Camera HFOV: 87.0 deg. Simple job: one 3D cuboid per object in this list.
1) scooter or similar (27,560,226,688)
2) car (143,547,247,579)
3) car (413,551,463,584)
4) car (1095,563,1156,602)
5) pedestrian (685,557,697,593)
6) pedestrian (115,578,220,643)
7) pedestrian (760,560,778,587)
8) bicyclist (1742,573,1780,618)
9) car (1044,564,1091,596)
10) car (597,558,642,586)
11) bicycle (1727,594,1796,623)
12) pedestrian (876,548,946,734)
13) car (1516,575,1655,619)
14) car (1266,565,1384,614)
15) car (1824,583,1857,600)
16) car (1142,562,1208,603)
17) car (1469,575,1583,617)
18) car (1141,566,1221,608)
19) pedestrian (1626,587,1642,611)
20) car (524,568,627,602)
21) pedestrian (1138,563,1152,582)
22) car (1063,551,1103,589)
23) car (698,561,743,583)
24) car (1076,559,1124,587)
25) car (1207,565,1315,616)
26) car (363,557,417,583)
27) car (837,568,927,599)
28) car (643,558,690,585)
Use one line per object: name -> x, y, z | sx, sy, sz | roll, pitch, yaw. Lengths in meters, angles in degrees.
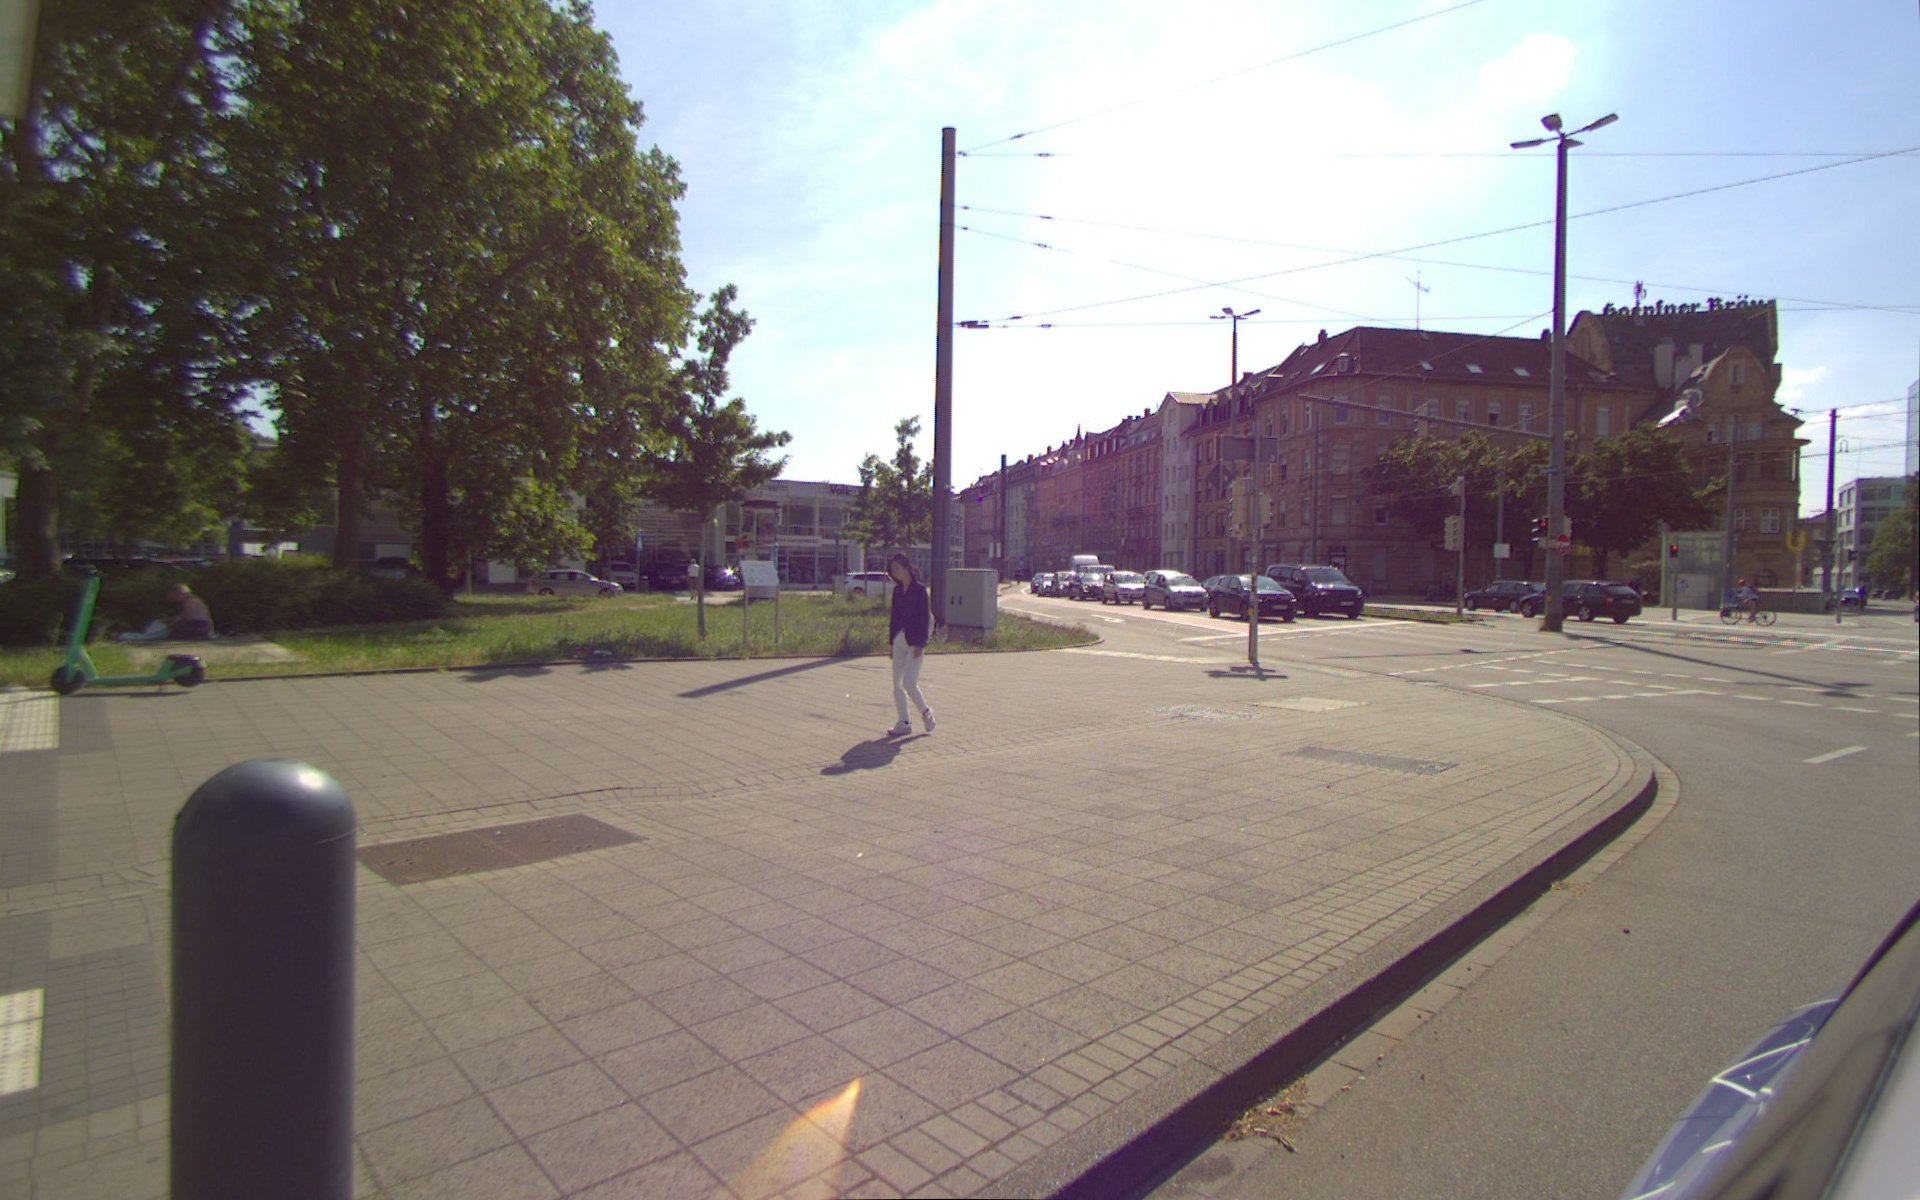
scooter or similar -> -7.729, 0.212, 9.433 | 1.335, 1.133, 0.518 | 1, 1, -15
car -> -39.613, -1.905, 52.533 | 3.917, 1.388, 2.004 | 2, 0, -26
car -> -29.221, -1.782, 56.792 | 1.958, 1.705, 4.009 | 2, 0, -20
car -> 7.892, -0.826, 48.620 | 1.623, 1.760, 4.207 | 1, 1, -8
pedestrian -> -12.211, -1.115, 45.968 | 0.386, 1.616, 0.464 | 2, 0, -2
pedestrian -> -11.823, 0.142, 15.104 | 1.157, 0.903, 0.820 | -1, 2, -44
pedestrian -> -11.722, -1.599, 62.033 | 0.937, 1.600, 0.535 | 2, 0, -28
bicyclist -> 30.833, -0.201, 38.959 | 0.701, 1.690, 0.877 | -2, 2, -17
car -> 6.387, -1.189, 60.612 | 1.775, 1.869, 4.207 | 1, 1, -8
car -> -20.258, -1.675, 60.065 | 1.959, 1.504, 4.007 | 2, 1, -27
bicycle -> 30.846, 0.308, 38.986 | 0.701, 1.027, 2.025 | -2, 2, -17
pedestrian -> -0.438, 0.359, 9.182 | 0.396, 1.625, 0.450 | 2, 0, 29
car -> 23.039, -0.162, 37.540 | 1.602, 1.453, 4.789 | 1, 2, -9
car -> 12.844, -0.426, 35.986 | 1.927, 1.607, 4.724 | 1, 2, -8
car -> 74.891, -0.748, 86.096 | 1.627, 1.362, 3.541 | 2, 2, 33
car -> 10.605, -0.863, 50.246 | 1.861, 1.941, 4.207 | 1, 1, -8
car -> 25.203, -0.232, 45.261 | 1.670, 1.446, 4.412 | -1, 6, -17
car -> 8.861, -0.531, 40.977 | 1.861, 1.607, 4.006 | 1, 1, -8
pedestrian -> 42.015, -0.058, 63.093 | 0.706, 1.451, 0.608 | 2, 0, 27
car -> -18.566, -0.718, 48.936 | 4.502, 1.454, 1.977 | 2, 0, -21
pedestrian -> 13.990, -2.086, 76.443 | 0.878, 1.450, 0.706 | 2, 1, 27
car -> 8.981, -2.137, 74.221 | 2.174, 2.608, 5.874 | 2, 0, 1
car -> -14.760, -1.711, 62.178 | 1.798, 1.210, 4.007 | 3, 0, -26
car -> 8.965, -1.736, 65.352 | 2.149, 1.701, 5.034 | 1, 2, -3
car -> 10.015, -0.343, 33.986 | 1.859, 1.607, 4.217 | 1, 1, -8
car -> -31.170, -1.637, 55.444 | 1.958, 1.260, 4.009 | 2, 1, -20
car -> -4.132, -0.863, 53.439 | 4.504, 1.454, 1.447 | 2, 0, -11
car -> -17.765, -1.719, 61.201 | 1.959, 1.504, 4.007 | 2, 1, -27
